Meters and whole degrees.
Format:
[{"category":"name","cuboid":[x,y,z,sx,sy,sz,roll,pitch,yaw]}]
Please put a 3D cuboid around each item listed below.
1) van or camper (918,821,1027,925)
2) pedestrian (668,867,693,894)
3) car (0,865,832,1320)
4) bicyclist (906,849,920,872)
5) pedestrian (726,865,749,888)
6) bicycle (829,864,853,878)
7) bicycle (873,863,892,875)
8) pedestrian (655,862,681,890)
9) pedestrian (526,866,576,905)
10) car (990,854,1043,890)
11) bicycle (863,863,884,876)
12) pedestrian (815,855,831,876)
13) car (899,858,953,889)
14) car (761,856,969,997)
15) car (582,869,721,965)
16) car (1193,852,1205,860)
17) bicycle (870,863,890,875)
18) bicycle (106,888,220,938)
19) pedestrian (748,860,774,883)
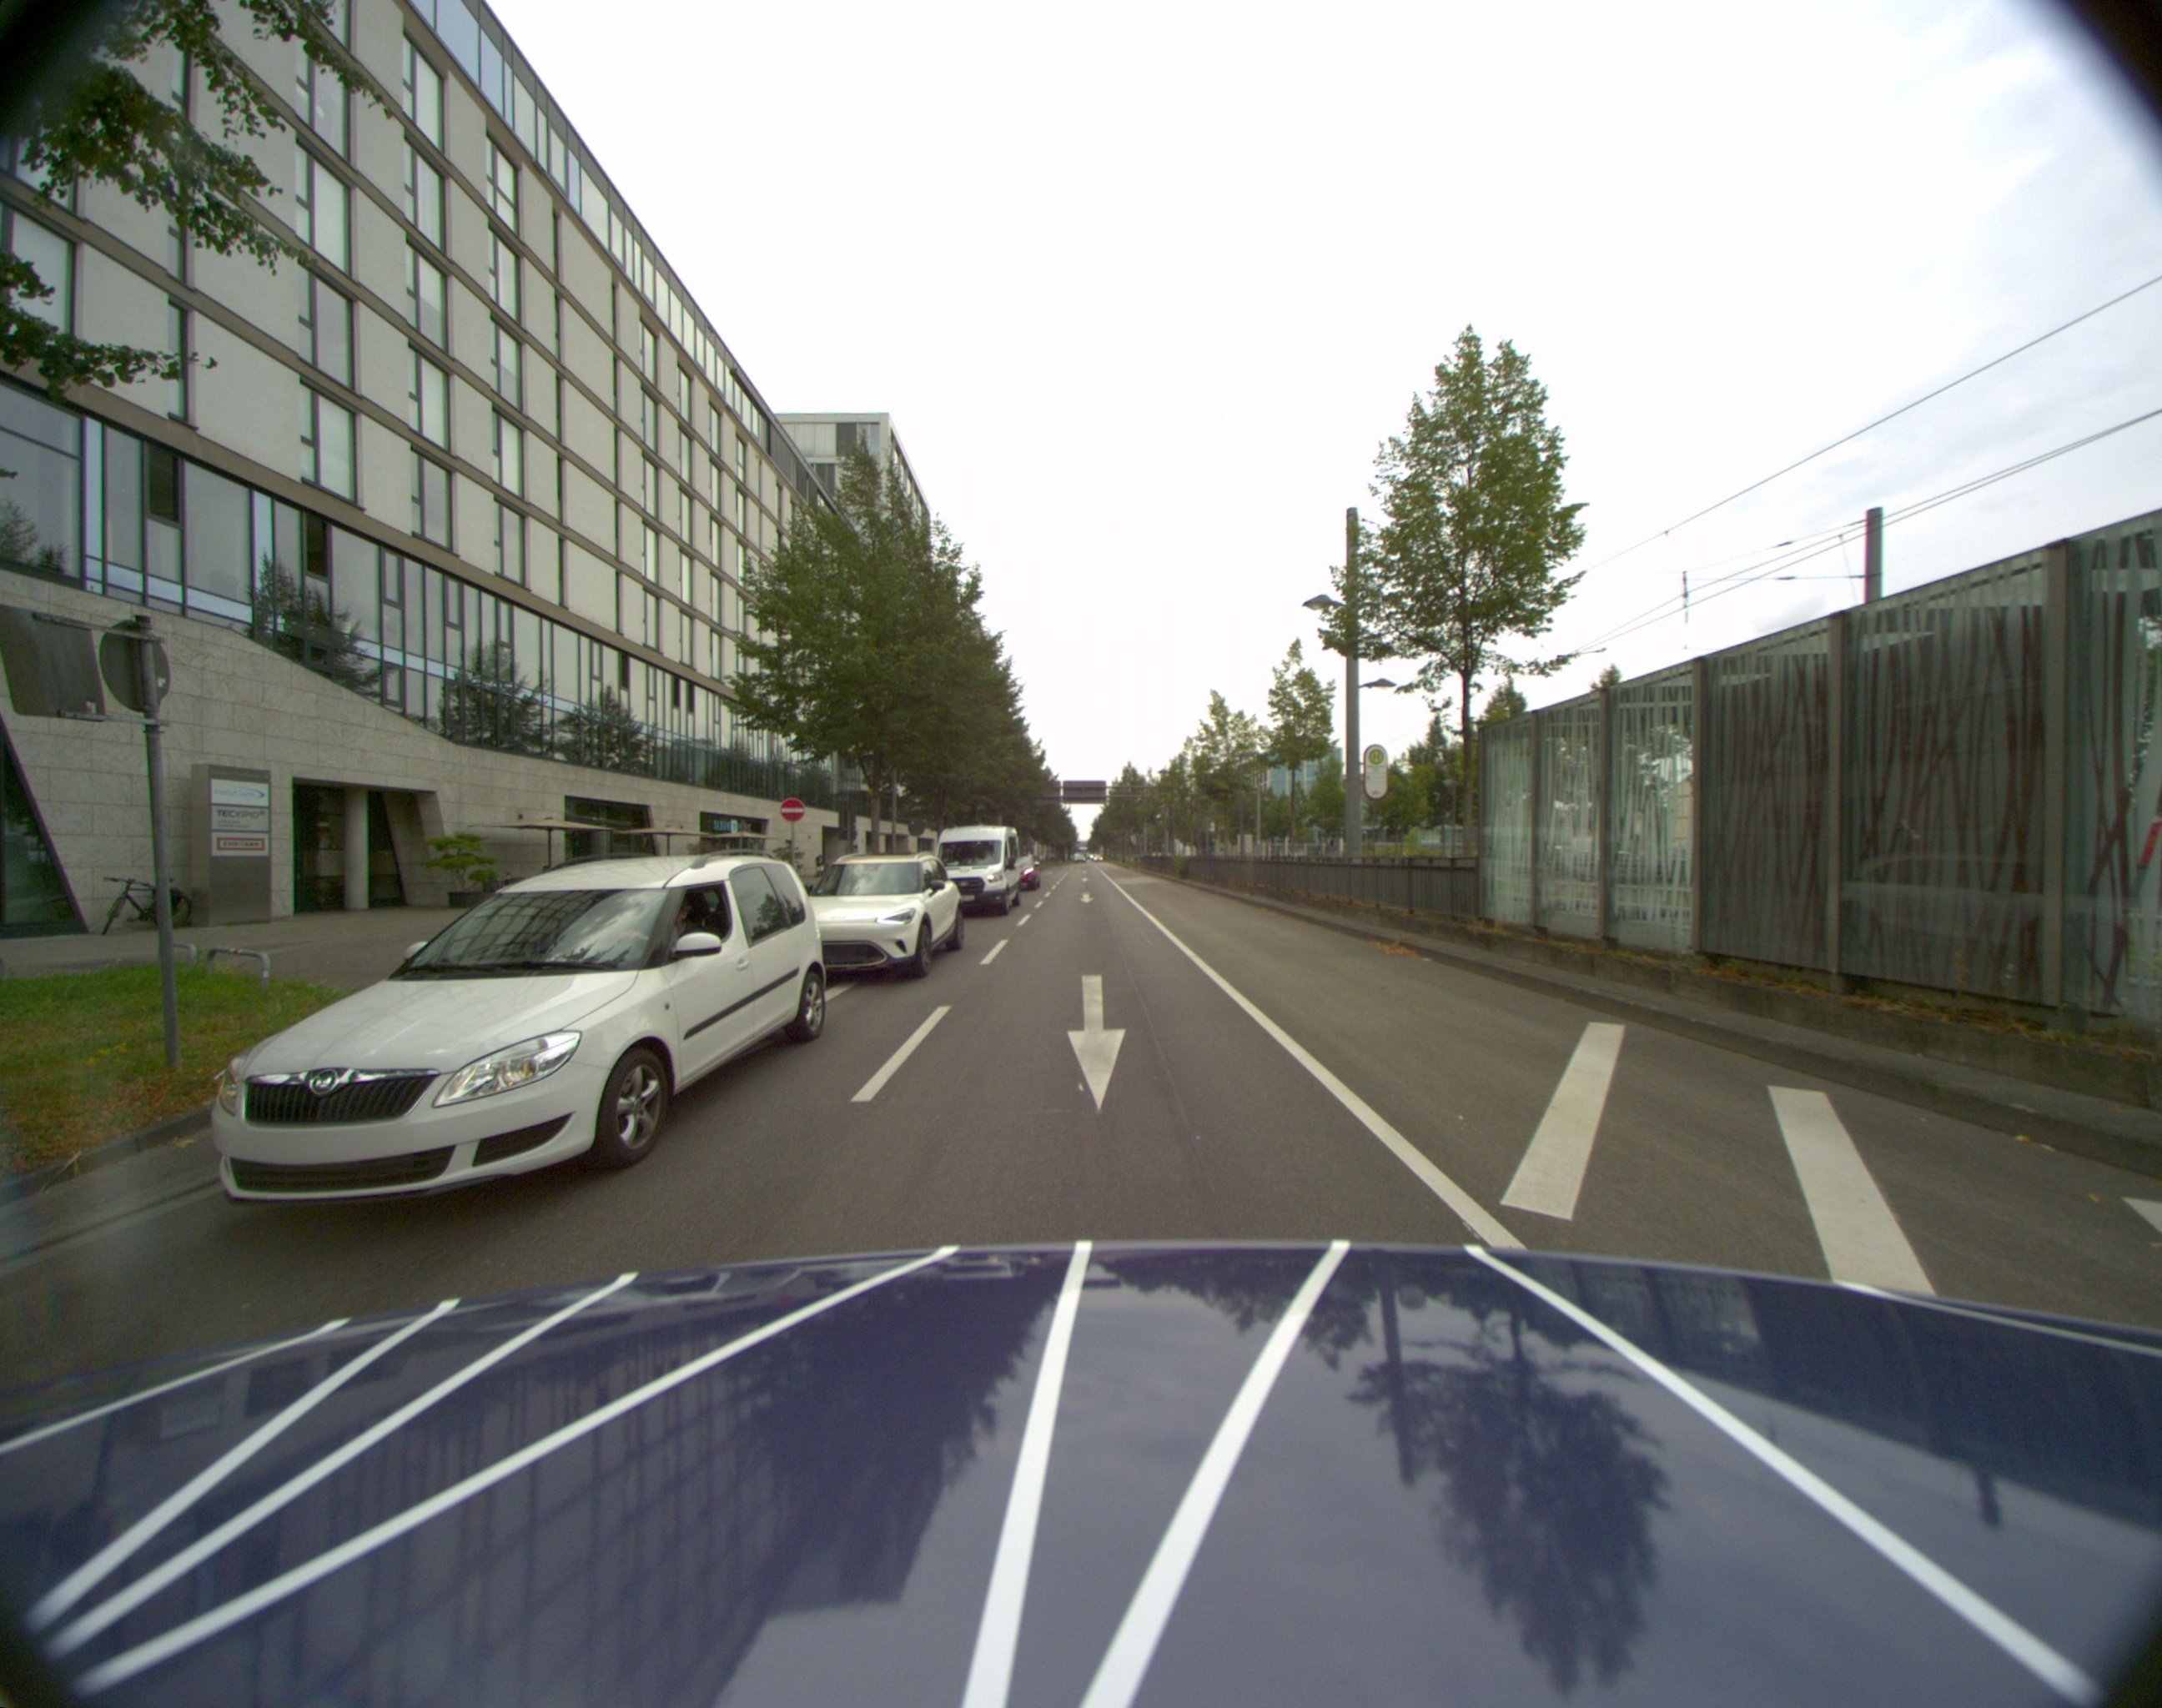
[{"category":"van or camper","cuboid":[-2.912,0.468,21.904,2.184,2.493,6.339,-2,0,0]},{"category":"pedestrian","cuboid":[-18.127,1.191,34.378,0.720,1.185,0.759,0,0,2]},{"category":"car","cuboid":[-3.171,0.922,4.845,1.783,1.647,4.023,0,0,1]},{"category":"bicyclist","cuboid":[-11.697,0.425,52.945,0.726,1.573,0.990,1,1,2]},{"category":"pedestrian","cuboid":[-17.986,1.177,39.801,0.719,1.185,0.760,0,0,22]},{"category":"bicycle","cuboid":[-17.685,1.230,55.924,1.605,1.020,0.609,0,0,-27]},{"category":"bicycle","cuboid":[-17.585,1.332,67.201,1.533,1.020,0.533,0,0,-3]},{"category":"pedestrian","cuboid":[-18.145,0.949,33.399,0.720,1.185,0.759,0,0,0]},{"category":"pedestrian","cuboid":[-17.114,0.996,24.555,0.899,1.221,0.950,0,0,5]},{"category":"car","cuboid":[-2.879,0.782,34.794,1.973,1.528,4.139,0,0,1]},{"category":"bicycle","cuboid":[-17.251,1.281,63.249,1.602,1.020,0.533,0,0,-3]},{"category":"pedestrian","cuboid":[-17.629,0.802,51.853,0.758,1.398,0.721,0,0,8]},{"category":"car","cuboid":[-8.303,1.009,41.106,1.943,1.543,4.593,-1,0,0]},{"category":"car","cuboid":[-2.832,0.856,10.929,1.783,1.647,4.023,0,0,1]},{"category":"car","cuboid":[-8.541,1.067,14.882,1.951,1.467,4.858,-1,0,-34]},{"category":"car","cuboid":[25.831,0.397,166.833,1.832,1.646,4.691,-1,0,-2]},{"category":"bicycle","cuboid":[-17.286,1.287,65.381,1.602,1.020,0.533,0,0,-3]},{"category":"bicycle","cuboid":[-18.788,1.191,15.598,0.519,0.905,1.493,0,0,1]},{"category":"pedestrian","cuboid":[-17.330,0.948,41.218,0.773,1.185,1.107,0,0,15]}]
